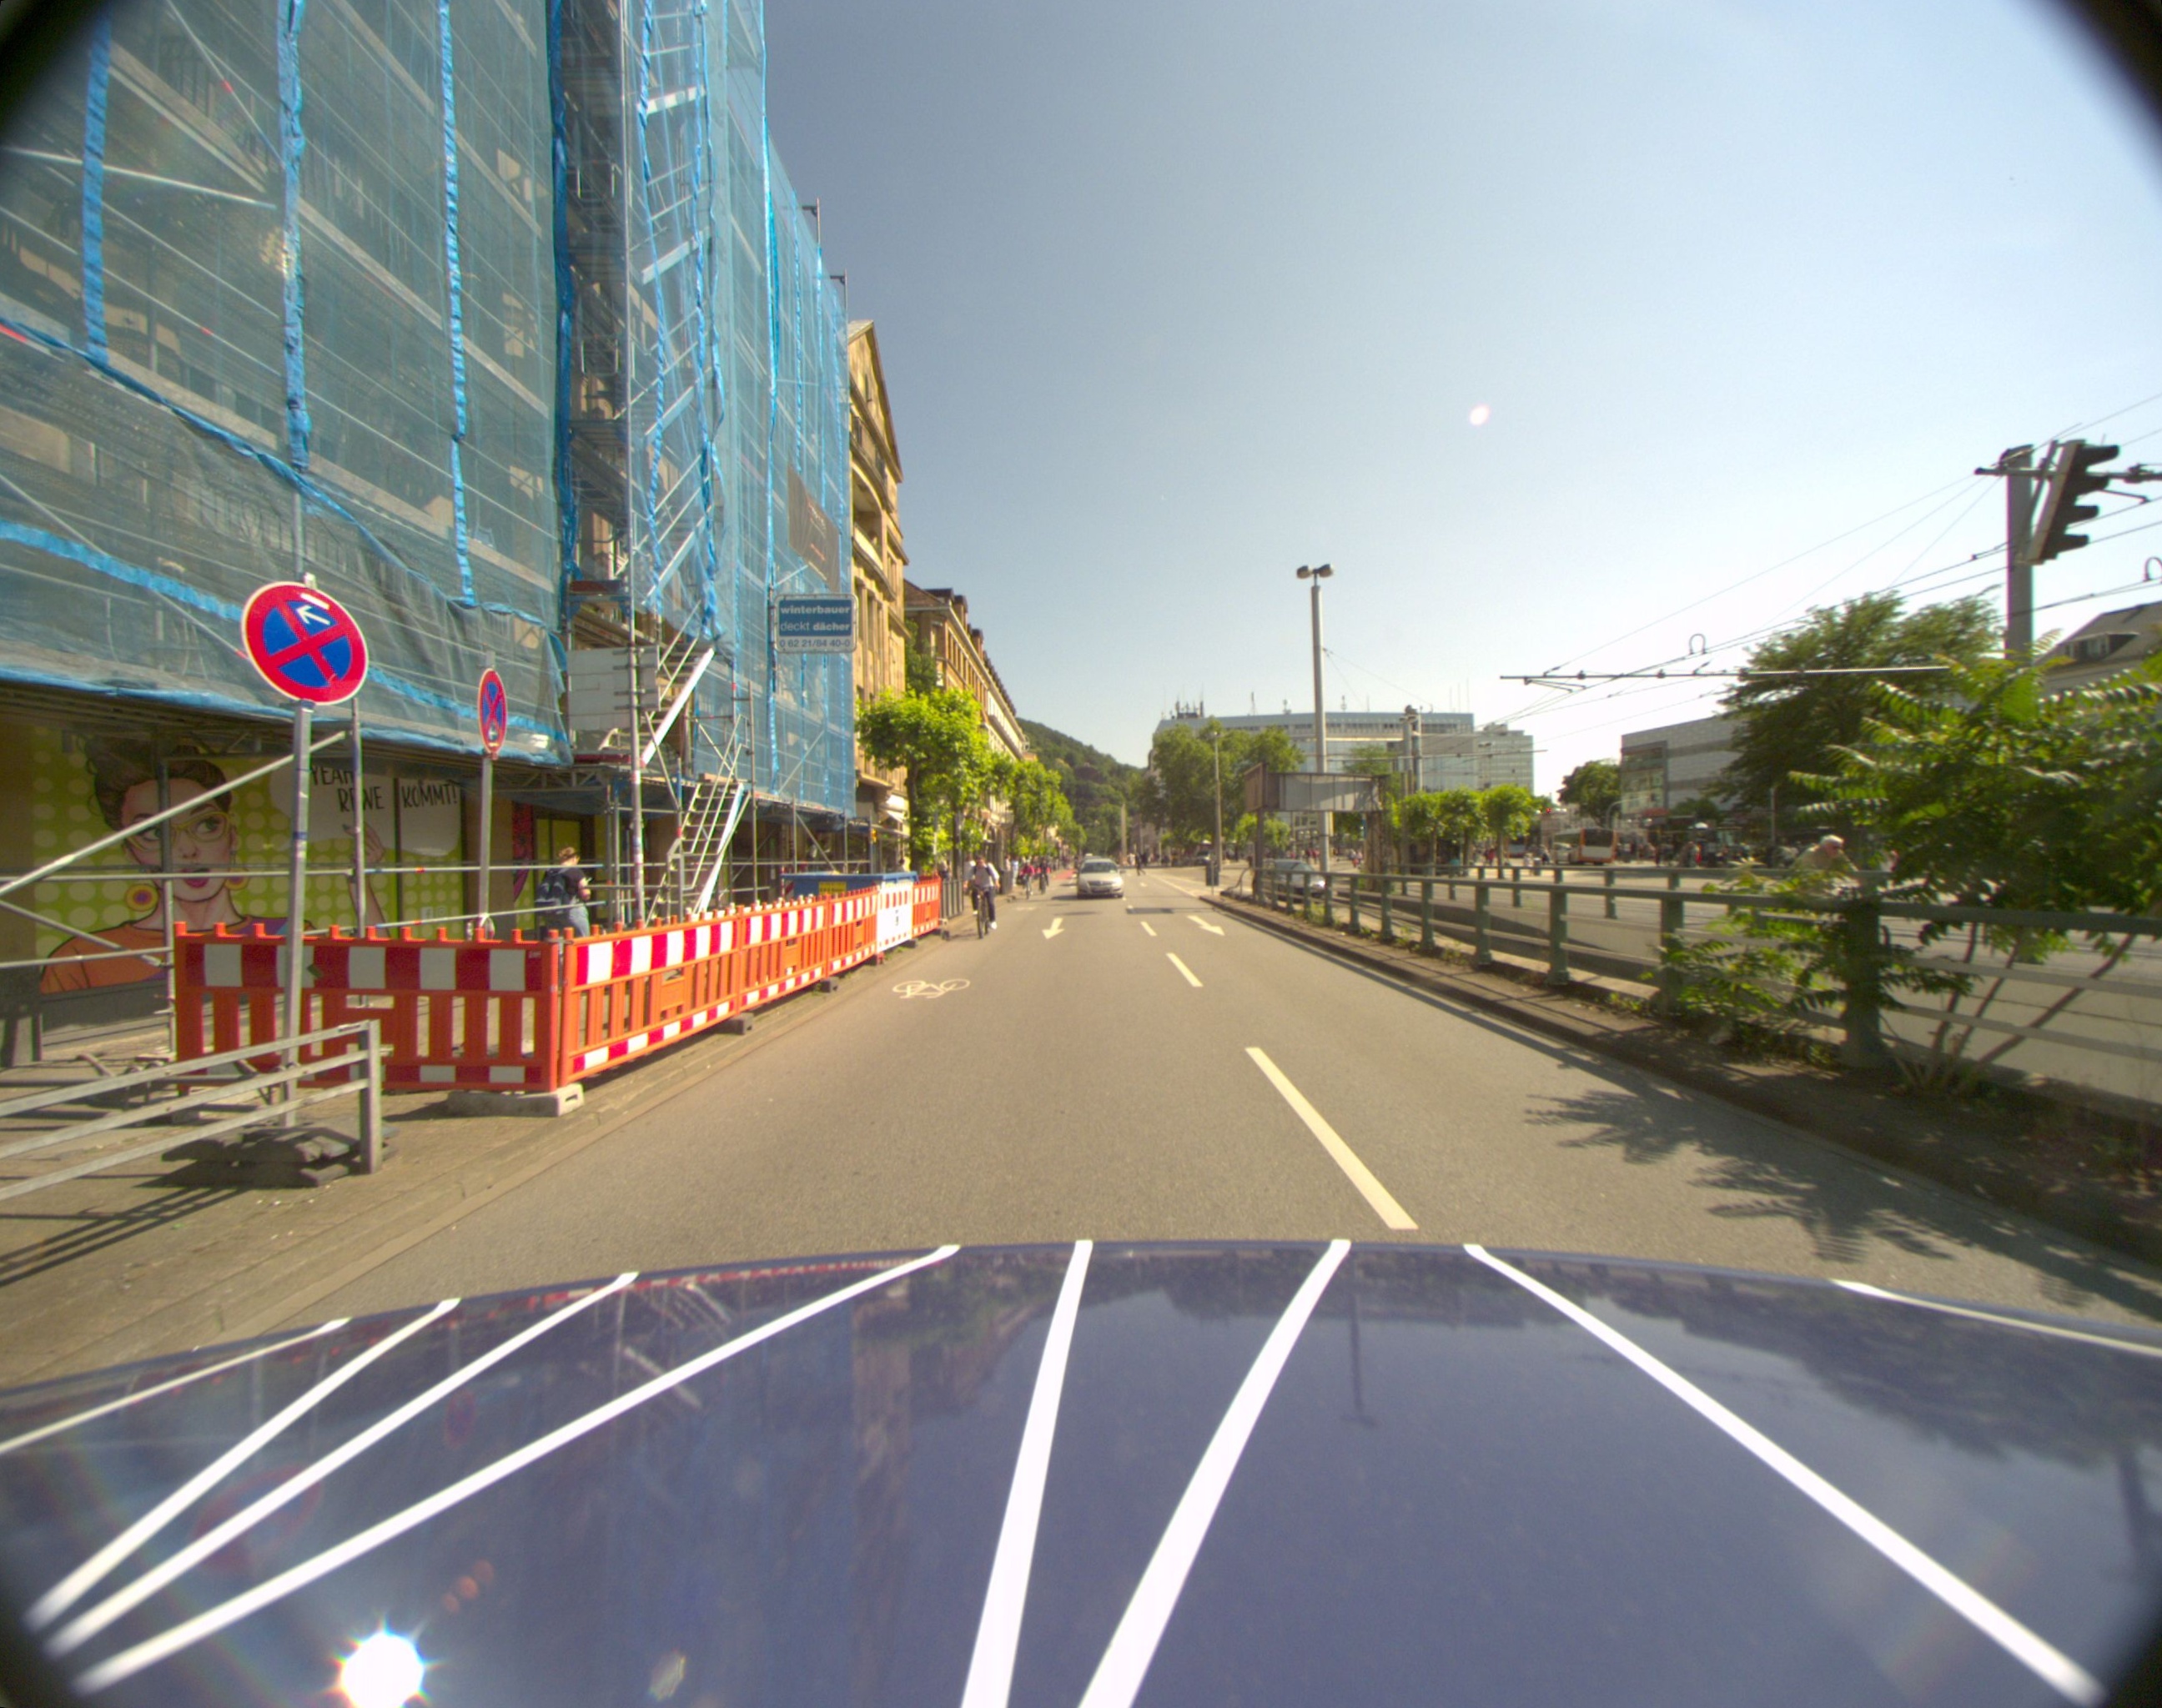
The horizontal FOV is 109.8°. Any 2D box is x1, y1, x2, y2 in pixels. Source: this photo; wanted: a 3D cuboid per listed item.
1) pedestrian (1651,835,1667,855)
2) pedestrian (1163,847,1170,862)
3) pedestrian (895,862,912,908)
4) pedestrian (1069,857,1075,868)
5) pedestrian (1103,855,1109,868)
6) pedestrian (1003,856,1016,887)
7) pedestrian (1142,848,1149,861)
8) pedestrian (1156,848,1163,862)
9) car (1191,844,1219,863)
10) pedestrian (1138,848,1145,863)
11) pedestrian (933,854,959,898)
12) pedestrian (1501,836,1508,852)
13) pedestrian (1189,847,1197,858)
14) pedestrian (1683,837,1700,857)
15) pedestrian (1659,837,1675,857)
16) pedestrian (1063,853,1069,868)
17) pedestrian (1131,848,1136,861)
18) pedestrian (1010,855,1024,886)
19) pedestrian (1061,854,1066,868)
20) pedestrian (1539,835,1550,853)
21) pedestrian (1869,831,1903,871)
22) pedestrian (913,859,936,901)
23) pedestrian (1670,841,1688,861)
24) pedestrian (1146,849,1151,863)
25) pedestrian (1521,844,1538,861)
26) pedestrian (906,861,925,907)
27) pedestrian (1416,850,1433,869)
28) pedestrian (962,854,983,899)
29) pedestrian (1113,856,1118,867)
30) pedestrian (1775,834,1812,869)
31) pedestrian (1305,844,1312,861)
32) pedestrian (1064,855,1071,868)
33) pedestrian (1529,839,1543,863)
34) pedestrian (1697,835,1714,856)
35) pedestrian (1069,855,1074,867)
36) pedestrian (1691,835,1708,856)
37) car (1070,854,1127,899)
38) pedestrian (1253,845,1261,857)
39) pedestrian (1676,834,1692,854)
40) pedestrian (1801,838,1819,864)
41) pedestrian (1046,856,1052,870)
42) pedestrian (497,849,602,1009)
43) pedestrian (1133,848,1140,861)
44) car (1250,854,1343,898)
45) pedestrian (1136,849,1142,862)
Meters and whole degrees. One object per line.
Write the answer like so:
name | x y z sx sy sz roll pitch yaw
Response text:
pedestrian | 43.042 -0.697 56.614 0.625 1.457 0.680 1 0 -2
pedestrian | 10.342 0.061 91.948 0.643 1.682 0.642 -4 1 -12
pedestrian | -6.568 1.136 28.126 0.381 1.673 0.478 0 2 36
pedestrian | -1.265 1.149 104.717 0.672 1.488 0.637 -2 1 -13
pedestrian | 3.447 1.062 104.034 0.699 1.774 0.578 -1 1 -5
pedestrian | -3.712 0.896 39.431 0.601 1.617 0.643 1 1 -11
pedestrian | 8.137 0.080 95.630 0.630 1.639 0.753 -3 1 27
pedestrian | 10.401 0.156 100.689 0.751 1.737 0.667 -4 1 0
car | 14.638 -0.095 89.325 1.996 2.002 5.074 -3 1 22
pedestrian | 7.736 0.208 96.951 0.537 1.773 0.745 -3 1 36
pedestrian | -5.771 0.946 32.475 0.816 1.838 0.892 0 1 8
pedestrian | 38.161 -0.869 68.474 0.453 1.457 0.411 1 0 -34
pedestrian | 14.180 -0.213 96.150 0.752 1.399 0.782 -4 1 -9
pedestrian | 43.543 -0.496 54.200 0.625 1.457 0.680 1 0 -4
pedestrian | 42.861 -0.488 55.548 0.625 1.457 0.680 1 0 -4
pedestrian | -1.889 0.850 94.970 0.578 1.835 0.717 -4 1 -2
pedestrian | 7.660 0.066 110.767 0.639 1.903 0.733 -4 1 0
pedestrian | -3.432 0.868 40.661 0.697 1.617 0.701 -1 1 -8
pedestrian | -2.295 0.910 98.748 0.578 1.774 0.699 -4 1 -2
pedestrian | 38.862 -0.840 63.691 0.526 1.457 0.588 1 0 -19
pedestrian | 34.976 -0.130 33.015 0.678 1.696 0.705 0 0 0
pedestrian | -6.792 1.128 32.919 0.669 1.771 0.985 -1 1 5
pedestrian | 45.207 -0.212 57.463 0.789 1.457 0.742 1 0 -4
pedestrian | 8.554 0.259 96.479 0.517 1.825 0.716 -3 1 9
pedestrian | 26.540 -0.109 44.962 0.635 0.995 0.580 1 0 4
pedestrian | -6.232 1.122 28.621 0.538 1.673 0.498 -2 2 -44
pedestrian | 20.771 0.343 45.968 0.677 1.164 0.752 1 0 -5
pedestrian | -4.158 0.851 29.205 0.659 1.673 0.652 -2 2 -16
pedestrian | 5.543 1.268 122.821 0.699 1.774 0.578 -1 1 -5
pedestrian | 36.768 -0.118 39.229 0.967 1.783 1.081 1 0 10
pedestrian | 24.011 -0.137 80.153 0.577 1.805 0.605 1 0 1
pedestrian | -1.851 1.038 102.852 0.605 1.726 0.647 -4 2 -22
pedestrian | 30.205 -0.211 50.422 0.608 1.598 0.549 1 0 4
pedestrian | 43.848 -0.607 53.377 0.625 1.457 0.680 1 0 -4
pedestrian | -1.397 1.069 115.022 0.649 1.770 0.623 1 2 18
pedestrian | 43.029 -0.595 52.893 0.624 1.457 0.681 1 0 6
car | 0.679 0.788 28.612 1.918 1.401 4.000 -4 0 2
pedestrian | 25.287 -0.378 109.114 0.752 1.737 0.782 1 0 -9
pedestrian | 44.904 -0.734 56.623 0.625 1.457 0.680 1 0 -4
pedestrian | 35.394 -0.147 36.905 0.404 1.256 0.481 1 0 -18
pedestrian | -3.387 0.946 80.523 0.606 1.529 0.667 -4 1 0
pedestrian | -6.184 0.842 8.871 0.641 1.766 0.649 -4 1 1
pedestrian | 7.680 0.056 104.999 0.876 1.737 0.733 -3 1 0
car | 7.554 0.723 27.007 1.700 1.396 3.997 2 0 -7
pedestrian | 7.713 0.208 100.563 0.612 1.737 0.752 -2 1 0
